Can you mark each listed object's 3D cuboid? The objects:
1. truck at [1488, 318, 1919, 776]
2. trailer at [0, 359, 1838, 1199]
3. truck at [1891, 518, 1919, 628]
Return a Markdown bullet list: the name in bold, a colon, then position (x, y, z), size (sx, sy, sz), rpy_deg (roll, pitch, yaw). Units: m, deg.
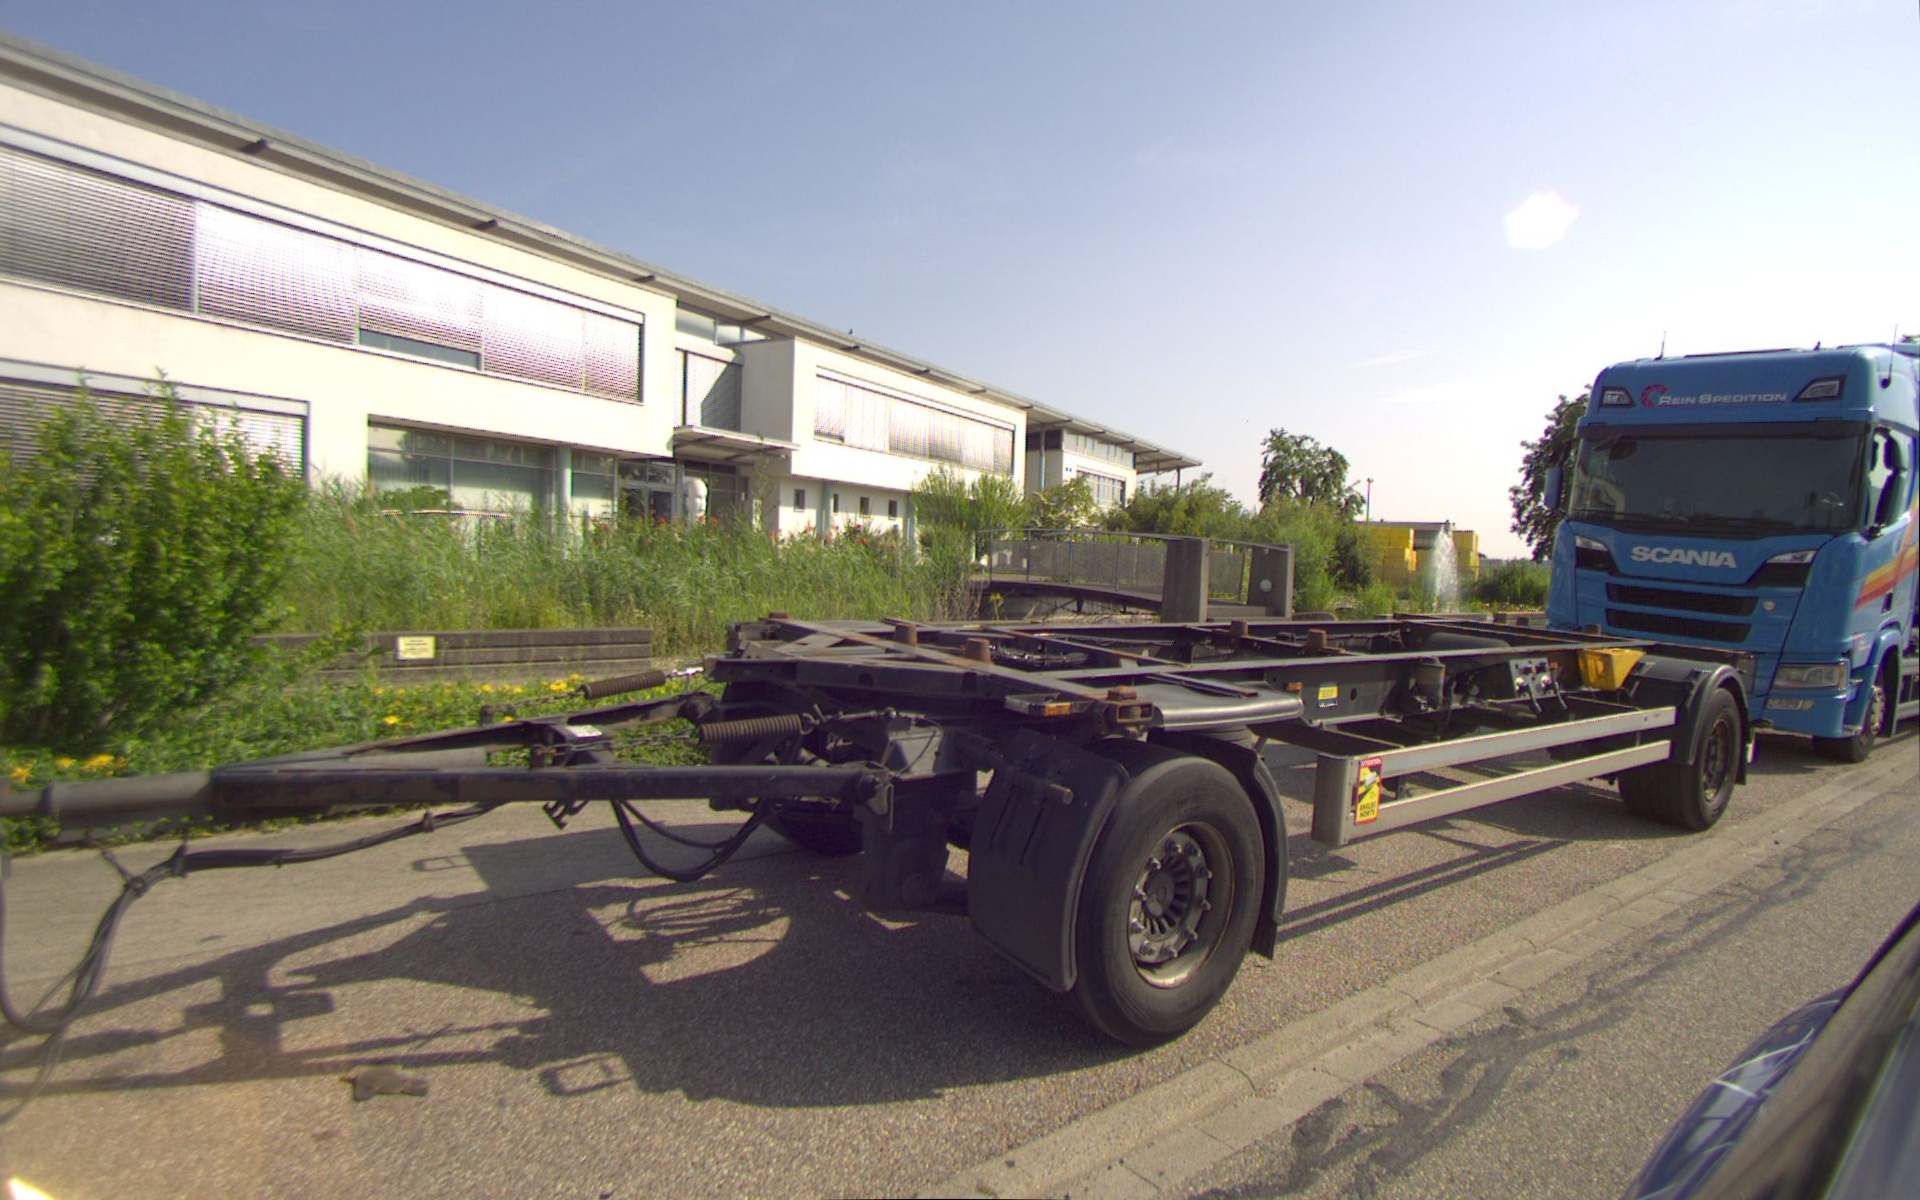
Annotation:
- **truck**: position (10.149, -0.636, 11.974), size (9.576, 3.575, 2.899), rpy_deg (-1, 7, -38)
- **trailer**: position (-1.314, 0.375, 2.899), size (15.876, 1.592, 2.755), rpy_deg (0, 5, -38)
- **truck**: position (32.996, -0.643, 29.481), size (2.692, 3.410, 8.232), rpy_deg (-1, 4, -38)
